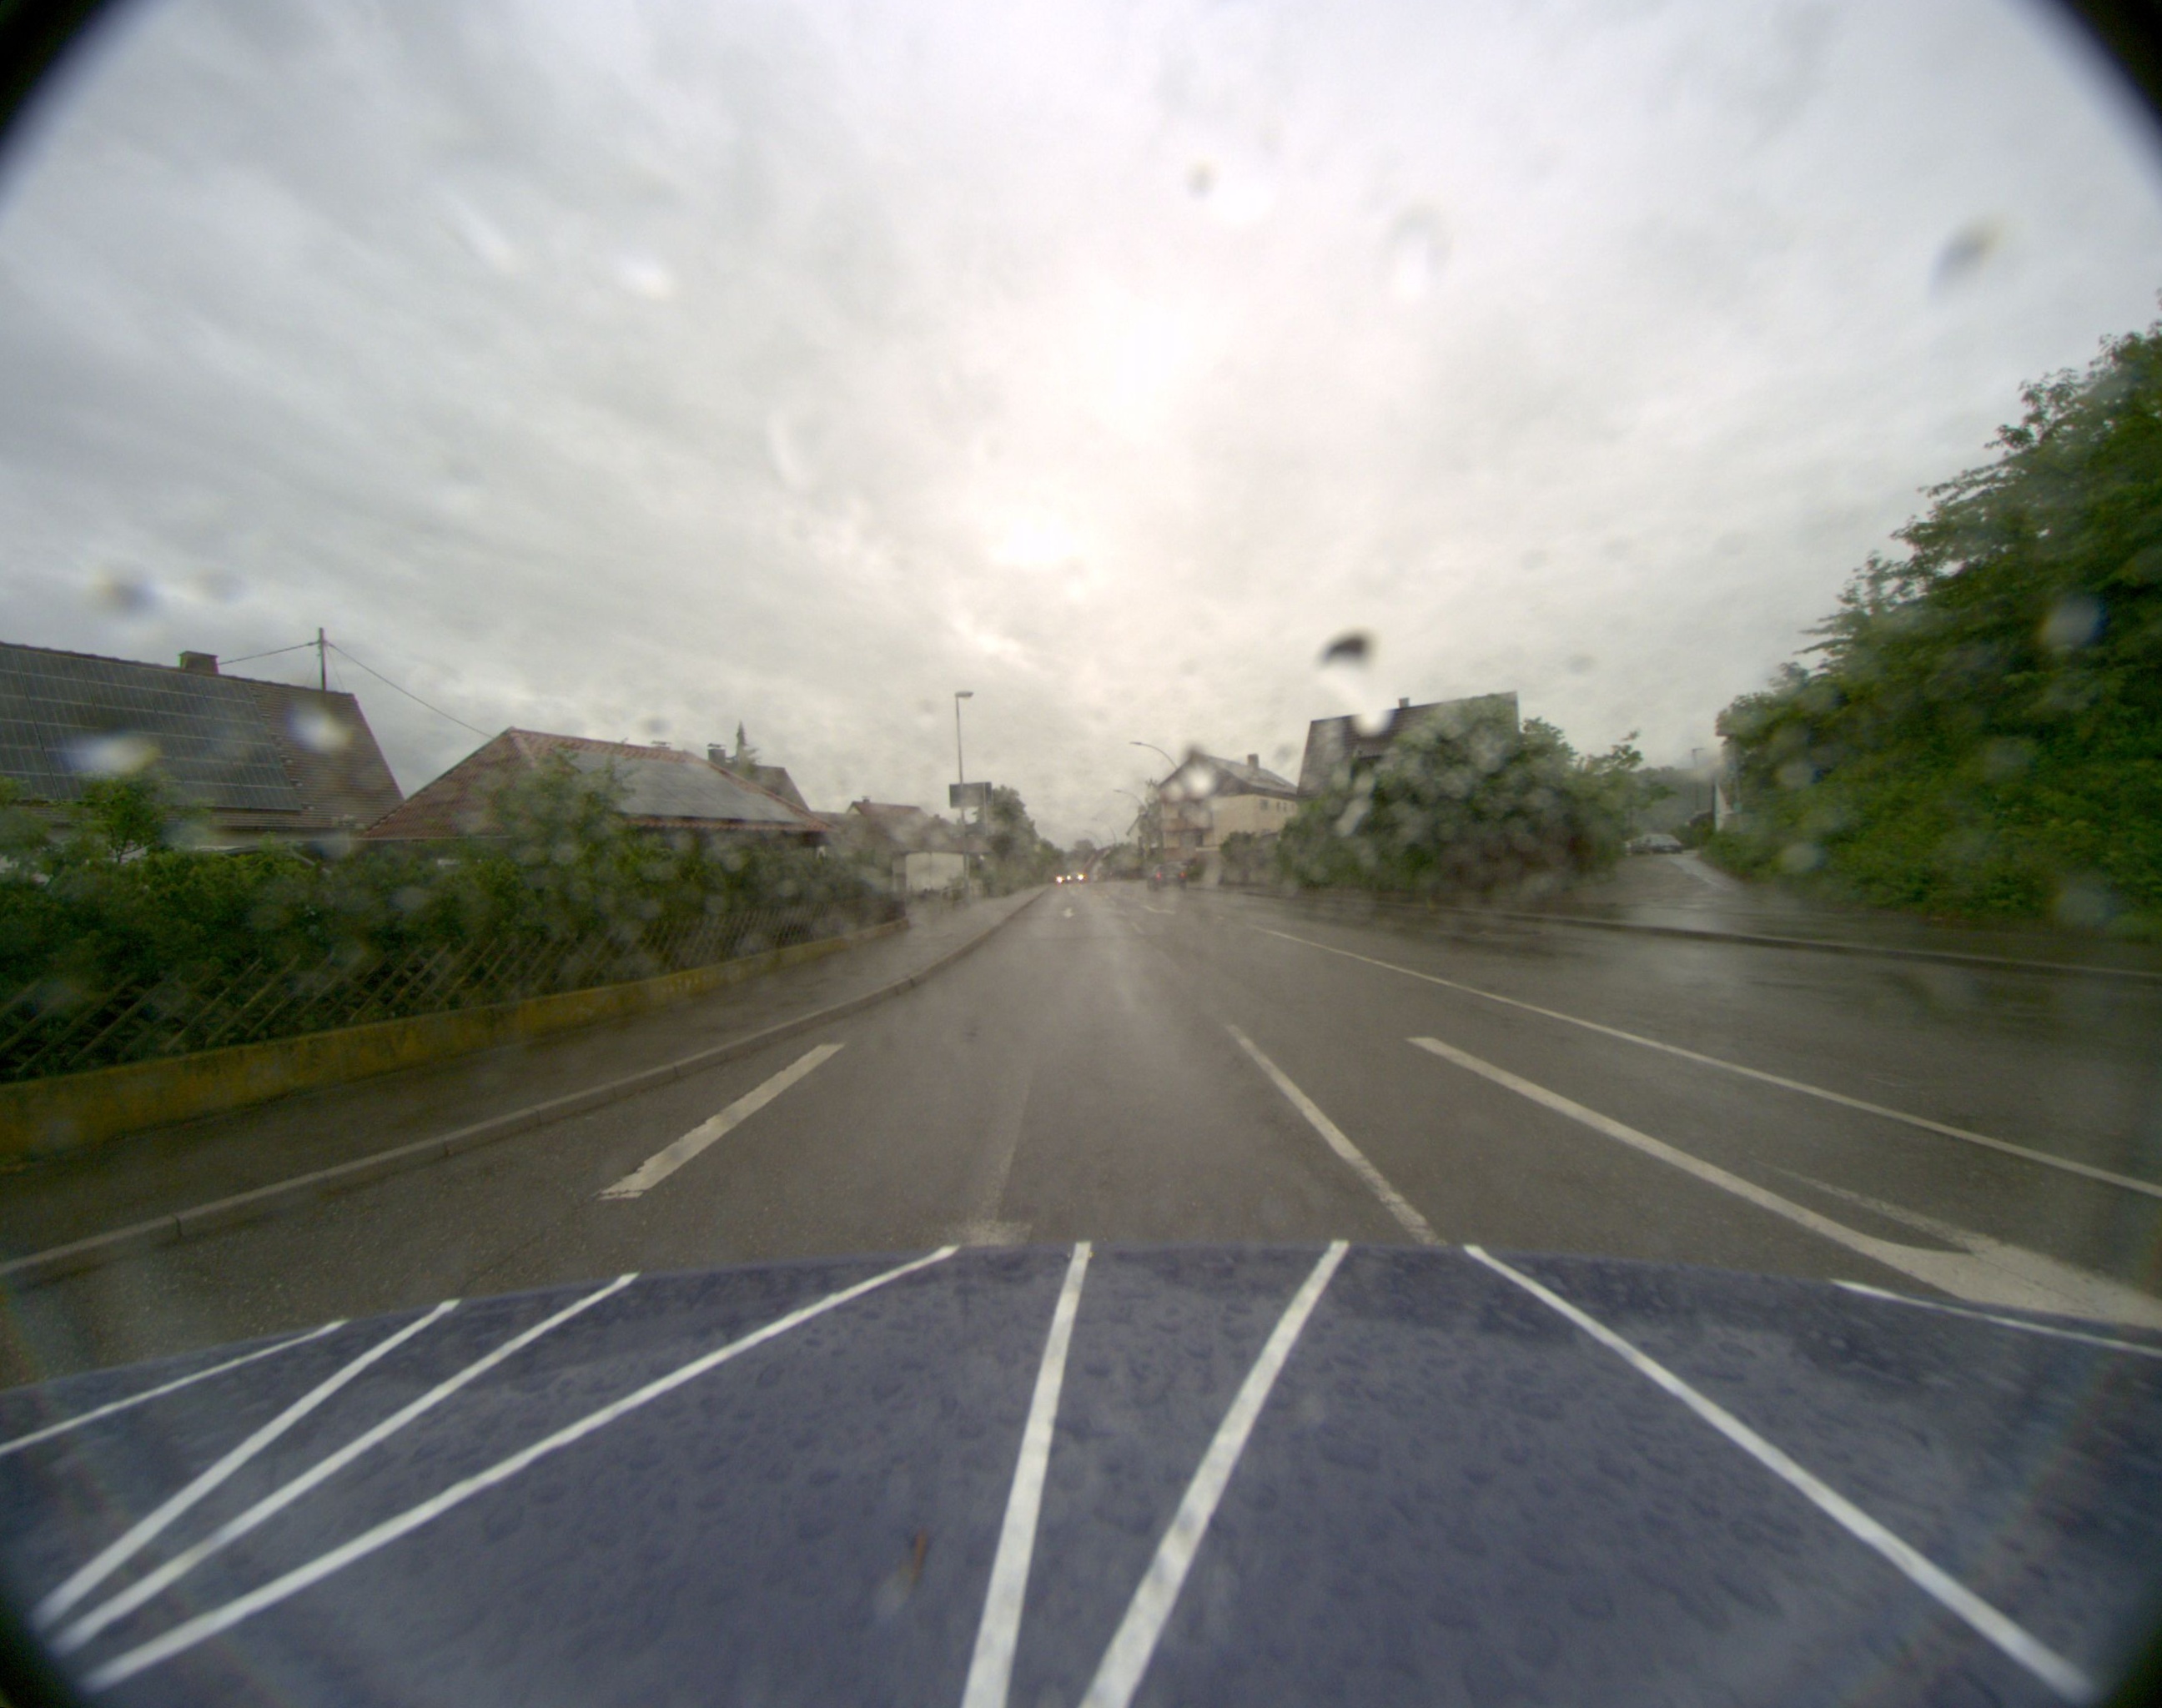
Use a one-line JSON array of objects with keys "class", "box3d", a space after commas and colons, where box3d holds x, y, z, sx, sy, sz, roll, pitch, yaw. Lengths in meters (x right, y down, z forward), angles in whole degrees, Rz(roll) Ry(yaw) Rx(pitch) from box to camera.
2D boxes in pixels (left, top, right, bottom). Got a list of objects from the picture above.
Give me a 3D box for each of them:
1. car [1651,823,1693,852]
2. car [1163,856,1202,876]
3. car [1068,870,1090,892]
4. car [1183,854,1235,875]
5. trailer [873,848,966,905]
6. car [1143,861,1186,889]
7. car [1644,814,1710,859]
[{"class": "car", "box3d": [41.128, -1.155, 52.859, 1.995, 1.848, 4.008, -3, 0, 41]}, {"class": "car", "box3d": [8.966, 1.052, 67.140, 1.864, 1.510, 4.007, -3, 0, 32]}, {"class": "car", "box3d": [-0.211, 2.650, 76.303, 1.998, 2.002, 4.000, -3, 0, 1]}, {"class": "car", "box3d": [10.343, 0.859, 61.471, 3.661, 1.510, 1.758, -3, 0, 35]}, {"class": "trailer", "box3d": [-7.748, 1.041, 36.912, 1.645, 2.502, 4.712, -3, -1, 28]}, {"class": "car", "box3d": [4.535, 1.123, 41.797, 1.681, 1.379, 3.459, -3, 0, -5]}, {"class": "car", "box3d": [22.968, -0.691, 29.221, 1.706, 1.579, 3.669, -2, 0, 42]}]
